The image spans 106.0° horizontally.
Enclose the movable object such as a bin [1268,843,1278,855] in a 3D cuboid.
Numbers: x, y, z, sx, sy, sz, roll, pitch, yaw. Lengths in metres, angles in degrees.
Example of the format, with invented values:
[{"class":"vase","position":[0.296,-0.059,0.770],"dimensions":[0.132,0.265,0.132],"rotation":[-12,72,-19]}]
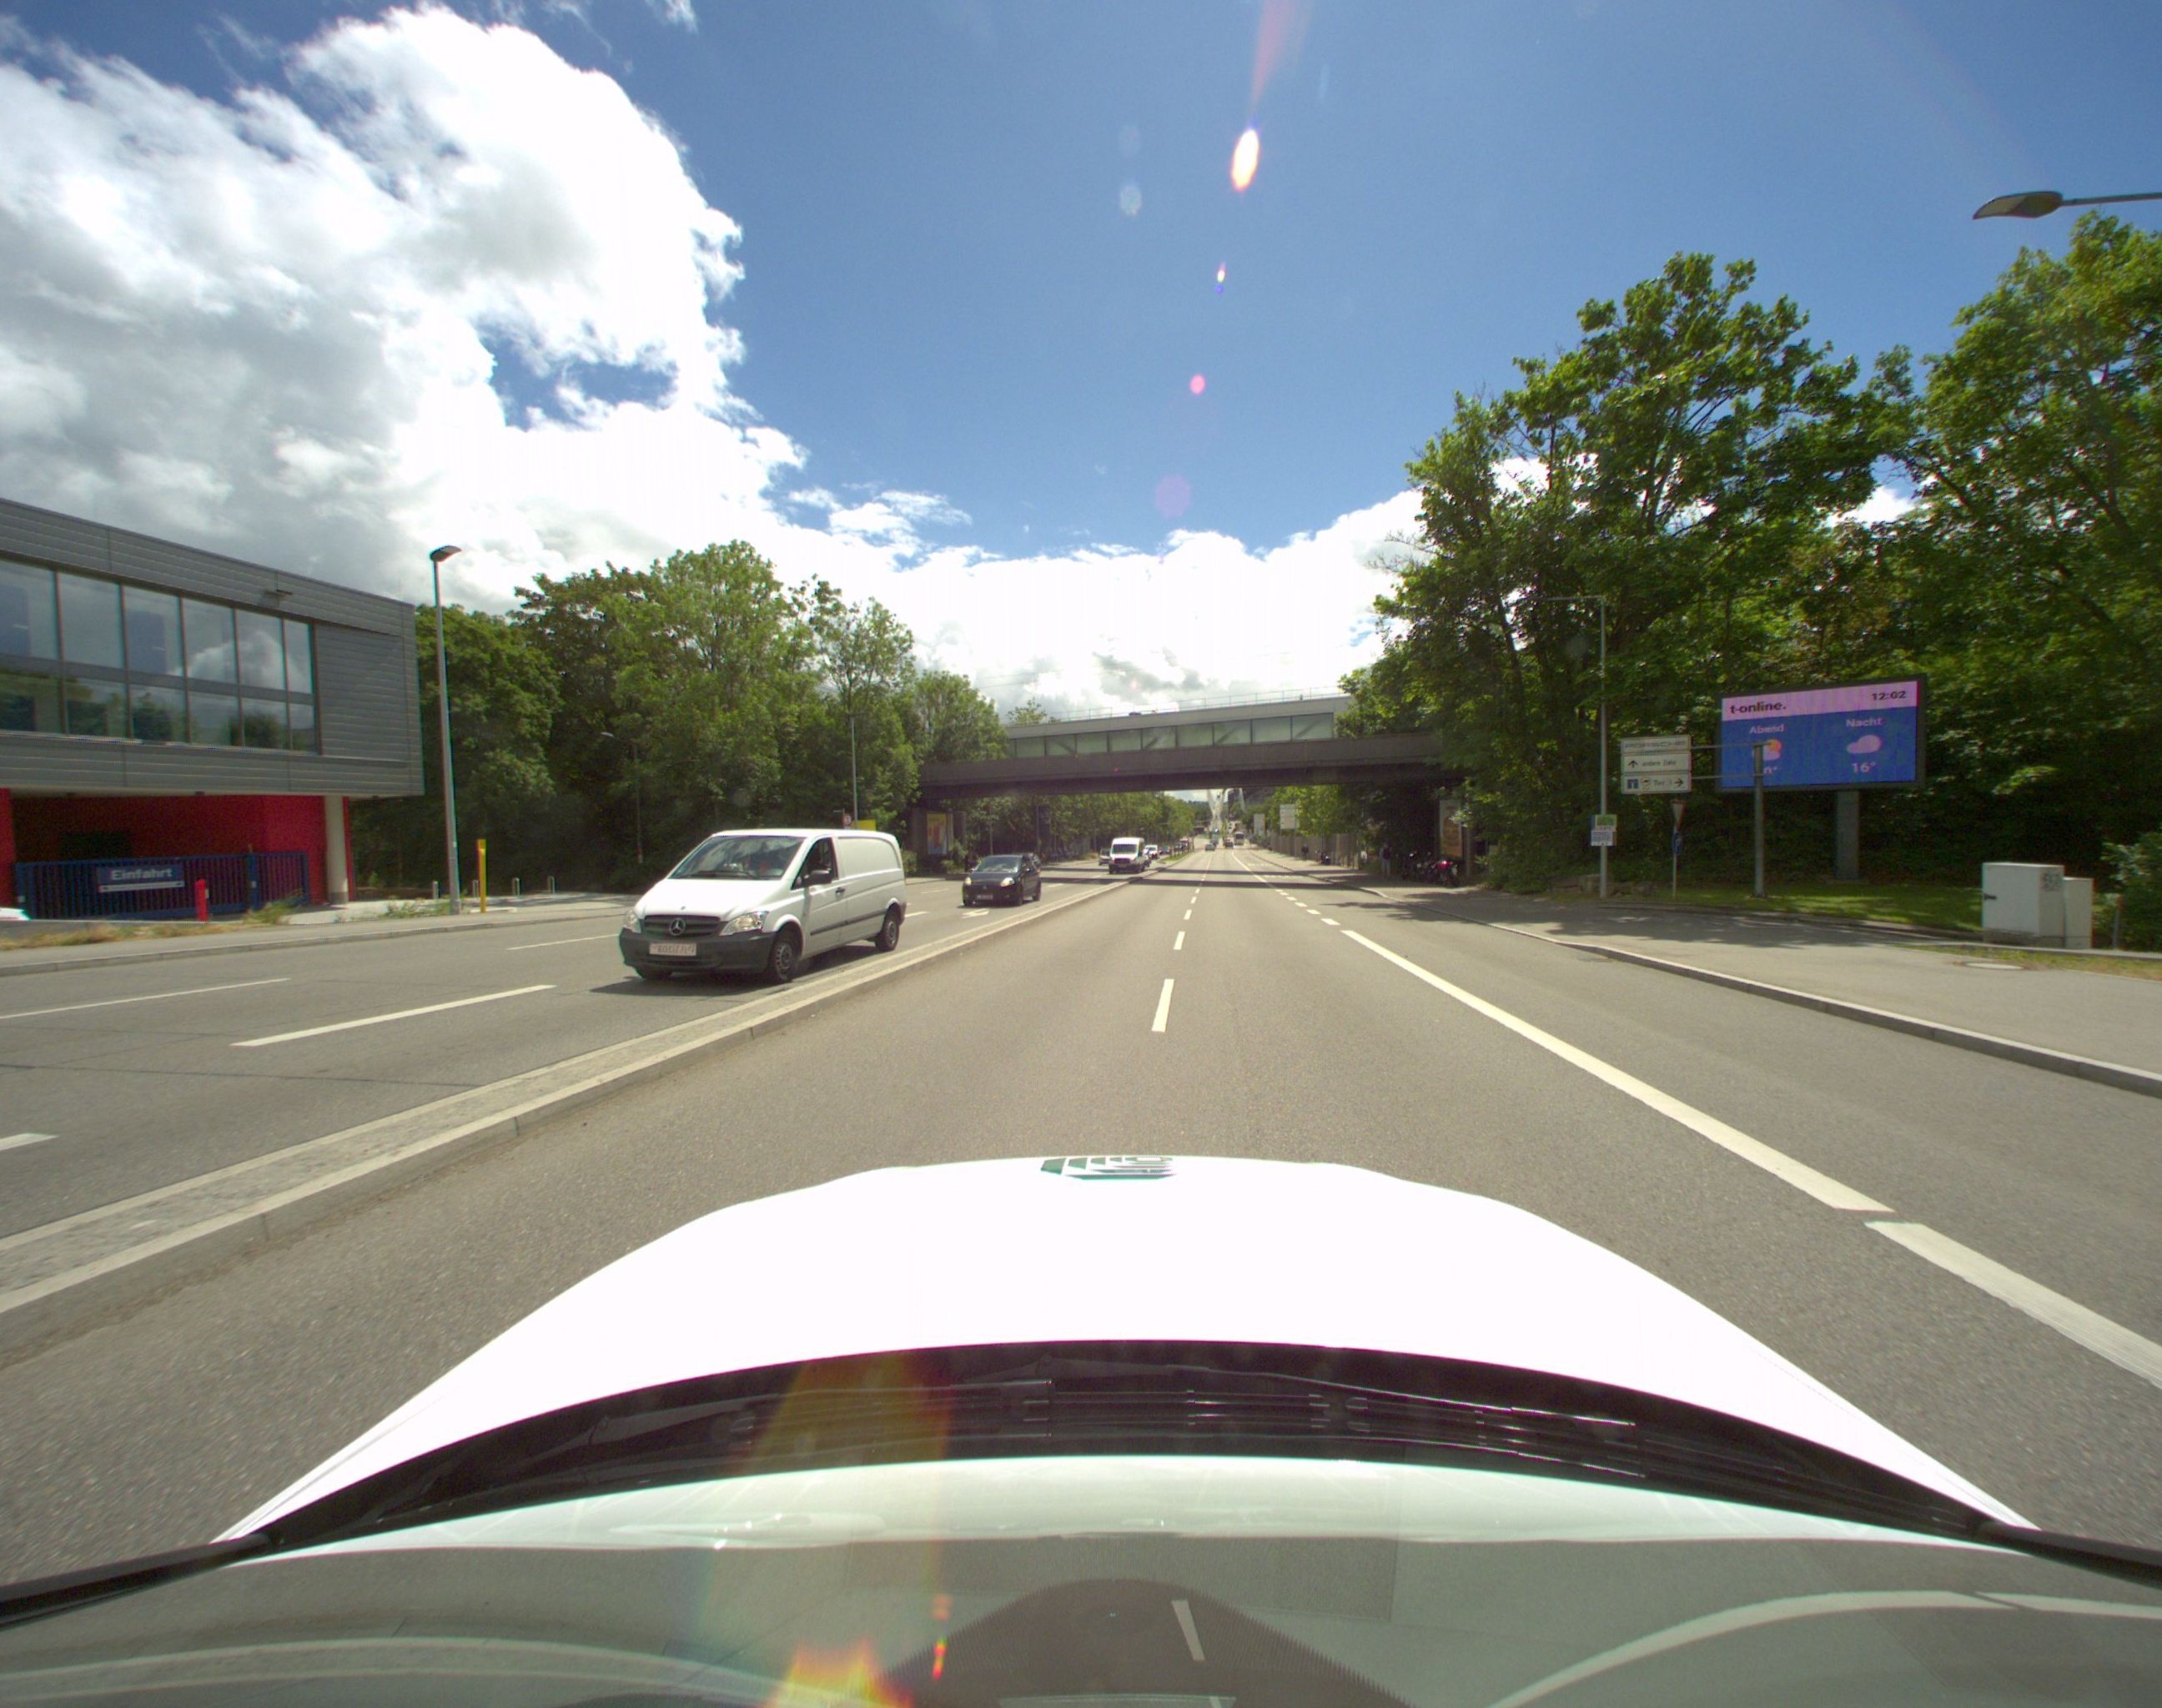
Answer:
[{"class":"movable object such as a bin","position":[33.172,-0.895,140.933],"dimensions":[1.652,2.132,1.283],"rotation":[0,0,14]}]

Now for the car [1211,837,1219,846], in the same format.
[{"class":"car","position":[30.817,-2.814,187.455],"dimensions":[1.847,1.705,4.012],"rotation":[-1,6,8]}]

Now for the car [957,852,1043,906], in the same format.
[{"class":"car","position":[-2.338,0.678,24.572],"dimensions":[1.627,1.471,3.786],"rotation":[0,1,9]}]

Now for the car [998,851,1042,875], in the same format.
[{"class":"car","position":[-3.856,0.550,52.072],"dimensions":[1.720,1.456,4.570],"rotation":[0,0,10]}]

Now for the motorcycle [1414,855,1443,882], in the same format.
[{"class":"motorcycle","position":[14.593,0.603,34.231],"dimensions":[0.544,1.110,2.021],"rotation":[-1,0,6]}]

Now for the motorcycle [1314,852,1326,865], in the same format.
[{"class":"motorcycle","position":[20.980,0.367,71.493],"dimensions":[0.560,1.029,2.636],"rotation":[-2,1,9]}]

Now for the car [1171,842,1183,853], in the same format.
[{"class":"car","position":[18.546,-1.264,157.095],"dimensions":[1.981,2.013,4.011],"rotation":[-1,0,9]}]

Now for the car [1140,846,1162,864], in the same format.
[{"class":"car","position":[6.121,0.091,71.182],"dimensions":[1.690,1.521,3.082],"rotation":[0,0,9]}]

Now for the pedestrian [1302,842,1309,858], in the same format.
[{"class":"pedestrian","position":[23.191,-0.432,84.210],"dimensions":[0.617,1.618,0.749],"rotation":[-1,4,8]}]

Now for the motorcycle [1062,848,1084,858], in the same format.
[{"class":"motorcycle","position":[-0.970,-0.111,98.620],"dimensions":[2.555,1.107,0.799],"rotation":[0,0,21]}]

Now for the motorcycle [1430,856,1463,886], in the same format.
[{"class":"motorcycle","position":[14.226,0.640,31.725],"dimensions":[0.544,1.110,2.021],"rotation":[-1,0,6]}]

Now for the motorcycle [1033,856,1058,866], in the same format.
[{"class":"motorcycle","position":[-3.677,0.739,84.809],"dimensions":[2.533,1.050,0.677],"rotation":[0,0,15]}]

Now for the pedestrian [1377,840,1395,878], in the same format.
[{"class":"pedestrian","position":[15.231,0.240,40.662],"dimensions":[0.619,1.858,0.874],"rotation":[-1,-1,7]}]

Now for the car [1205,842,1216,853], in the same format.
[{"class":"car","position":[24.888,-1.201,156.046],"dimensions":[1.917,1.771,4.014],"rotation":[-1,4,10]}]

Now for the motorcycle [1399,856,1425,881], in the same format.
[{"class":"motorcycle","position":[14.862,0.646,36.620],"dimensions":[0.544,1.110,2.021],"rotation":[-1,0,6]}]

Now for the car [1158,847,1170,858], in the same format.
[{"class":"car","position":[13.092,-0.265,128.327],"dimensions":[1.691,1.698,3.934],"rotation":[0,0,8]}]

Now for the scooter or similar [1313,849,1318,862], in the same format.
[{"class":"scooter or similar","position":[22.568,0.142,78.416],"dimensions":[0.366,1.177,1.136],"rotation":[0,0,9]}]

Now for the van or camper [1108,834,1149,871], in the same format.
[{"class":"van or camper","position":[3.322,-0.092,56.012],"dimensions":[1.995,2.401,6.417],"rotation":[-1,0,10]}]

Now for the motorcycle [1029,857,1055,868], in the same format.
[{"class":"motorcycle","position":[-4.018,0.859,83.663],"dimensions":[2.533,1.050,0.677],"rotation":[0,0,15]}]

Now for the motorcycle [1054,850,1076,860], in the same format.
[{"class":"motorcycle","position":[-1.883,0.139,95.653],"dimensions":[2.555,1.107,0.799],"rotation":[0,0,21]}]

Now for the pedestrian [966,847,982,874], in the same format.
[{"class":"pedestrian","position":[-6.682,0.388,51.022],"dimensions":[0.720,1.622,0.722],"rotation":[4,4,8]}]

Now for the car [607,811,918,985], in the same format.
[{"class":"car","position":[-4.083,0.462,11.501],"dimensions":[1.866,1.924,4.764],"rotation":[0,1,10]}]

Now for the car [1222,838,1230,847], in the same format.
[{"class":"car","position":[37.366,-2.905,209.406],"dimensions":[1.981,2.012,4.014],"rotation":[-1,4,11]}]

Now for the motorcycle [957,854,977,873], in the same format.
[{"class":"motorcycle","position":[-7.392,0.618,52.767],"dimensions":[0.683,1.210,2.077],"rotation":[1,-2,9]}]

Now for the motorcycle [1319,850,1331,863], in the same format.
[{"class":"motorcycle","position":[20.504,0.211,68.579],"dimensions":[0.560,1.029,2.636],"rotation":[-2,1,9]}]

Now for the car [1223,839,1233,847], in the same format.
[{"class":"car","position":[33.701,-2.553,186.733],"dimensions":[1.982,1.859,4.010],"rotation":[-1,0,8]}]

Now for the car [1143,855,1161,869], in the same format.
[{"class":"car","position":[7.427,0.845,84.833],"dimensions":[1.692,1.436,3.931],"rotation":[0,0,6]}]

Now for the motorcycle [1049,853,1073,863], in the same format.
[{"class":"motorcycle","position":[-2.276,0.419,92.134],"dimensions":[2.555,1.107,0.799],"rotation":[0,0,21]}]

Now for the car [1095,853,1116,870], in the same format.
[{"class":"car","position":[2.378,0.708,77.290],"dimensions":[1.692,1.551,3.931],"rotation":[0,0,6]}]

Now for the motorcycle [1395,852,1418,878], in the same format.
[{"class":"motorcycle","position":[15.533,0.533,38.885],"dimensions":[0.544,1.198,1.906],"rotation":[-1,0,6]}]

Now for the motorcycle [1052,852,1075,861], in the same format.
[{"class":"motorcycle","position":[-2.057,0.279,93.892],"dimensions":[2.555,1.107,0.799],"rotation":[0,0,21]}]

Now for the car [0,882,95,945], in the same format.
[{"class":"car","position":[-28.764,1.603,21.060],"dimensions":[1.655,1.508,3.754],"rotation":[0,2,15]}]

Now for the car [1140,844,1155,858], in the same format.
[{"class":"car","position":[8.371,-0.427,101.755],"dimensions":[1.691,1.698,3.932],"rotation":[0,0,7]}]

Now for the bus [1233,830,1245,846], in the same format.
[{"class":"bus","position":[43.193,-4.462,223.194],"dimensions":[2.780,3.751,9.496],"rotation":[-1,4,9]}]

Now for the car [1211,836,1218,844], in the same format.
[{"class":"car","position":[37.457,-3.938,227.779],"dimensions":[1.863,2.012,3.703],"rotation":[-1,4,8]}]
